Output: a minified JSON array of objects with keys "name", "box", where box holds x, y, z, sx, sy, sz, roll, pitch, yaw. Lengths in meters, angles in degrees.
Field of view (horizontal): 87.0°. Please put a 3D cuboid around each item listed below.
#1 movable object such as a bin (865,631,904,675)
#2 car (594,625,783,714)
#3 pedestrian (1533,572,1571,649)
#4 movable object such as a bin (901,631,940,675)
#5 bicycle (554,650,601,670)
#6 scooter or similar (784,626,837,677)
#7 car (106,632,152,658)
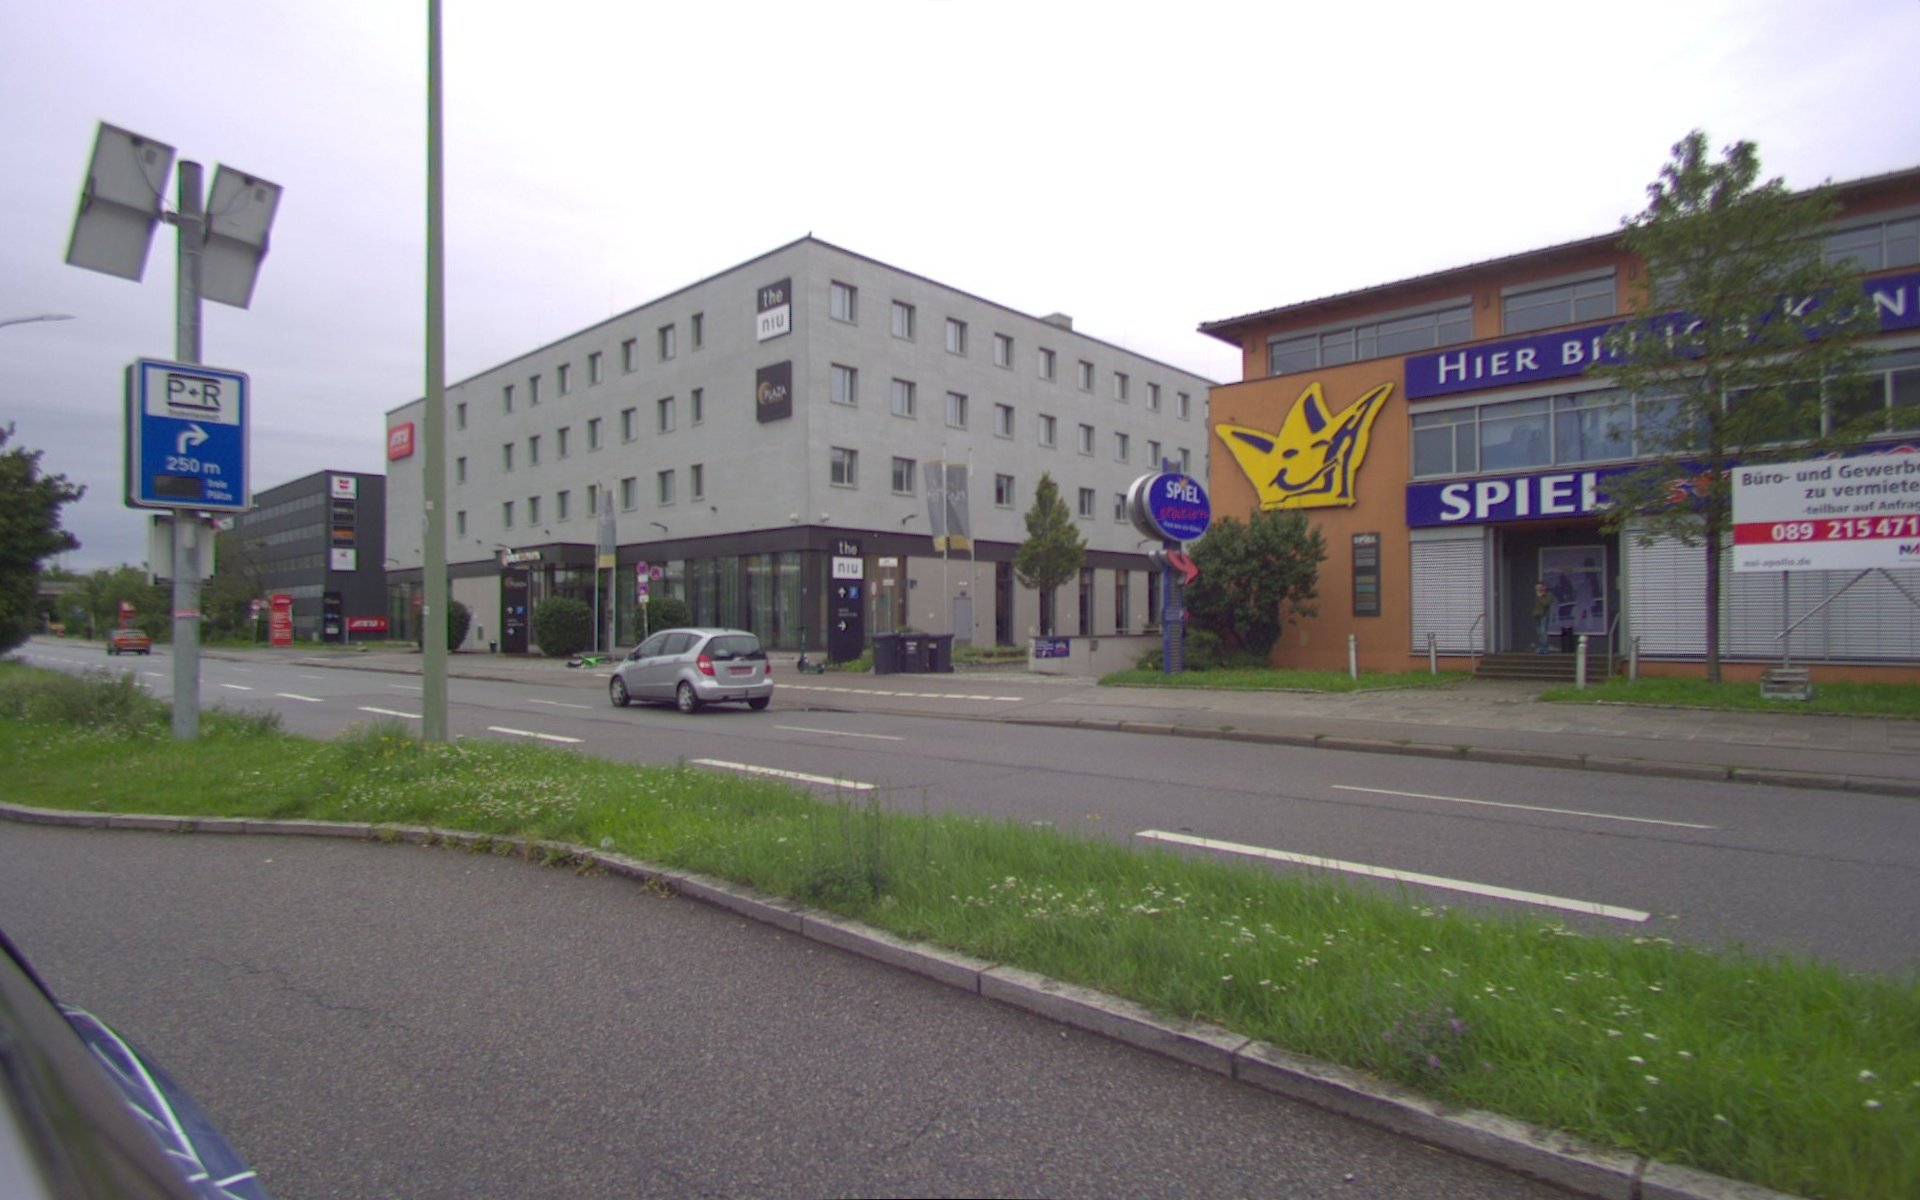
[{"name":"movable object such as a bin","box":[-1.944,1.355,25.920,0.655,1.086,0.729,-2,-1,43]},{"name":"car","box":[-5.403,1.294,19.884,4.028,1.569,1.794,-2,-3,44]},{"name":"pedestrian","box":[13.487,0.237,23.063,0.659,1.725,0.654,-1,-1,27]},{"name":"movable object such as a bin","box":[-1.014,1.351,25.934,0.655,1.086,0.729,-2,-1,43]},{"name":"bicycle","box":[-12.585,1.952,33.274,1.732,0.553,0.712,-2,2,43]},{"name":"scooter or similar","box":[-3.988,1.360,27.021,1.404,1.287,0.579,-2,3,43]},{"name":"car","box":[-53.686,2.887,65.349,4.303,1.560,1.717,-2,-3,43]}]
